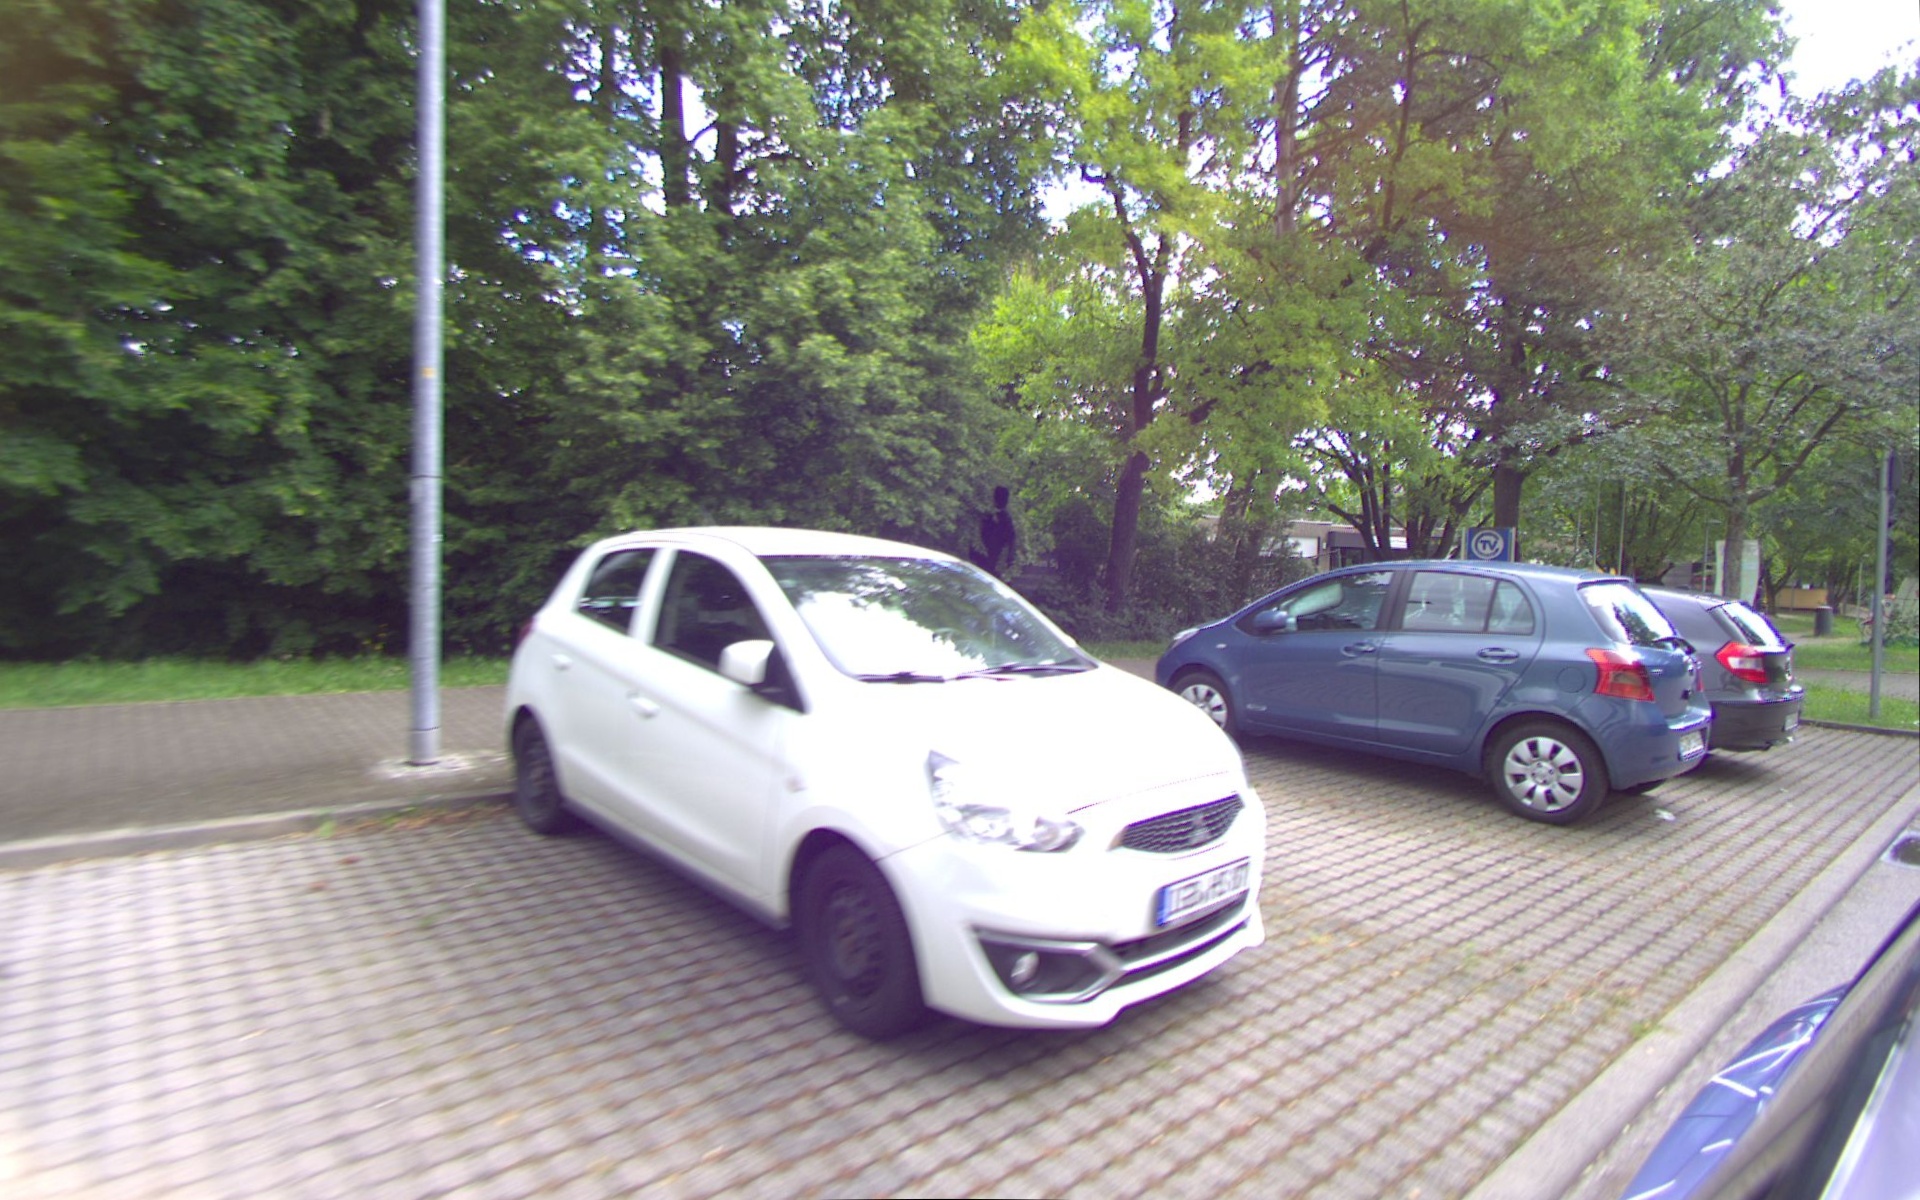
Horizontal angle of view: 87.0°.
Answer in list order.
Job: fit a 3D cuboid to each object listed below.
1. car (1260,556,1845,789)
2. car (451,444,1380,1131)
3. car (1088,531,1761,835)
[{"bbox_3d":[4.967,0.419,8.967,1.755,1.482,4.094,0,3,-41],"label":"car"},{"bbox_3d":[-0.616,0.311,4.446,1.756,1.589,4.163,-1,4,-44],"label":"car"},{"bbox_3d":[3.107,0.329,7.494,1.755,1.589,4.143,0,3,-41],"label":"car"}]
